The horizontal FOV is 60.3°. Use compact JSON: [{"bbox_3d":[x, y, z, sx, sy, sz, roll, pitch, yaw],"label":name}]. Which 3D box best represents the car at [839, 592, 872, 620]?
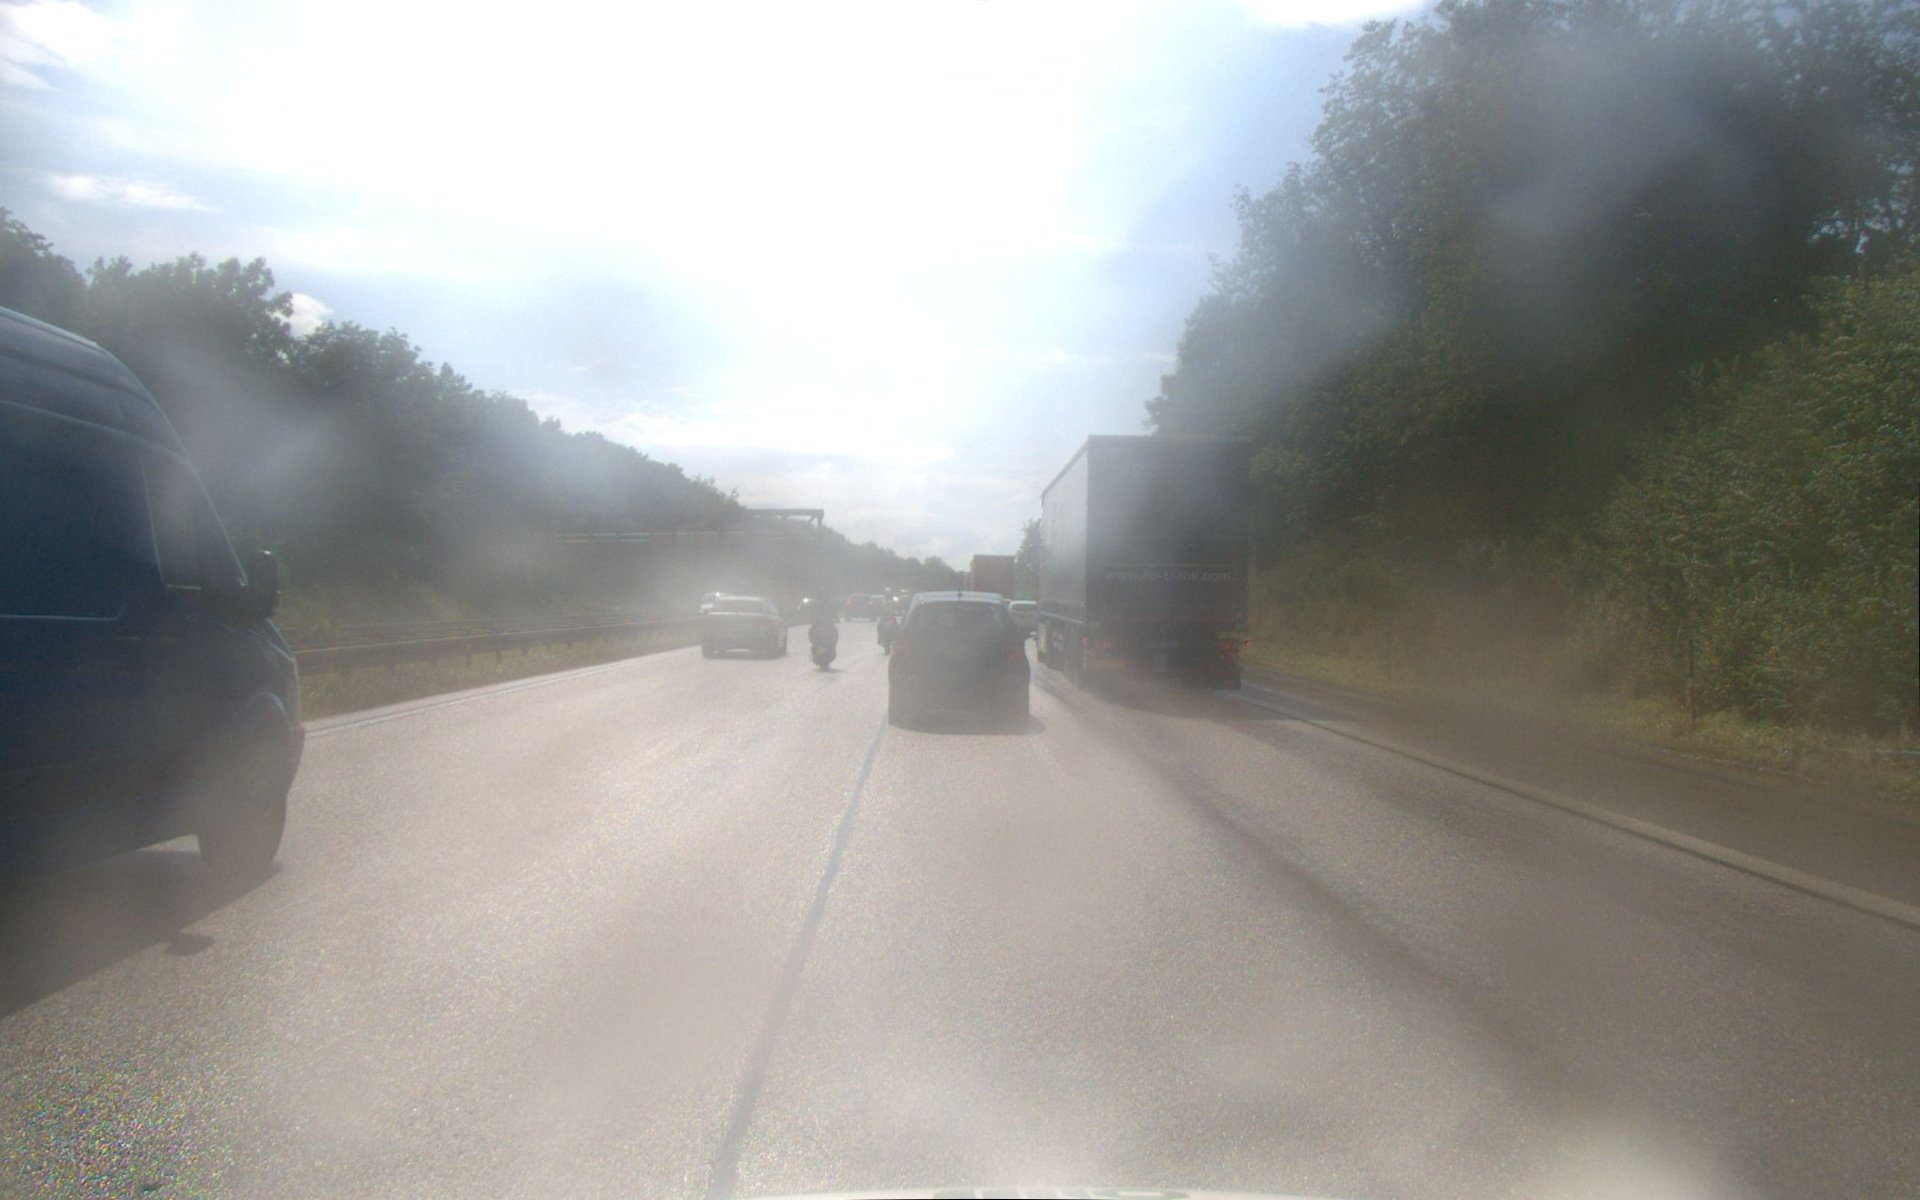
[{"bbox_3d":[-6.421,0.360,102.358,1.854,1.656,4.194,1,0,-1],"label":"car"}]

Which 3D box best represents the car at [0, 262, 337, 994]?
[{"bbox_3d":[-4.536,0.098,6.638,1.975,2.695,5.775,1,0,-1],"label":"car"}]

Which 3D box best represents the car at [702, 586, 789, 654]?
[{"bbox_3d":[-5.351,0.477,41.763,1.723,1.622,4.329,1,0,-1],"label":"car"}]

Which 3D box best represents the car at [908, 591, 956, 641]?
[{"bbox_3d":[-1.206,0.663,69.673,1.953,2.049,3.998,1,0,-2],"label":"car"}]

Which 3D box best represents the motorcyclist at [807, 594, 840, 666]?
[{"bbox_3d":[-2.830,0.612,34.391,0.657,1.467,1.019,1,-1,-4],"label":"motorcyclist"}]

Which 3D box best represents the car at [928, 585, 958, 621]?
[{"bbox_3d":[-1.000,0.175,94.661,1.641,1.970,3.772,1,0,-1],"label":"car"}]

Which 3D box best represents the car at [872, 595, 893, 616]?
[{"bbox_3d":[-6.228,0.461,132.865,1.641,1.625,3.435,1,0,-1],"label":"car"}]

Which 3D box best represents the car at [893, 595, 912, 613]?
[{"bbox_3d":[-6.429,0.443,185.140,1.953,2.049,3.999,1,0,-1],"label":"car"}]

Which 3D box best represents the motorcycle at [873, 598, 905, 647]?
[{"bbox_3d":[-1.894,0.586,44.497,0.803,1.285,2.117,1,0,-1],"label":"motorcycle"}]

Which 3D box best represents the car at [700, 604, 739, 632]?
[{"bbox_3d":[-15.156,1.127,104.416,1.870,1.708,4.967,-1,0,-1],"label":"car"}]

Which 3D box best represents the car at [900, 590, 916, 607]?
[{"bbox_3d":[-6.333,-0.129,202.489,1.953,2.049,3.999,1,0,-1],"label":"car"}]

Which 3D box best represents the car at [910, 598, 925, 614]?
[{"bbox_3d":[-5.772,0.818,223.597,1.953,2.049,3.999,1,0,-1],"label":"car"}]

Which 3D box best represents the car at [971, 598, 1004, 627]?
[{"bbox_3d":[1.459,0.673,88.917,1.641,1.516,3.435,1,0,-1],"label":"car"}]

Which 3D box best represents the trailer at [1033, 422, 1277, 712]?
[{"bbox_3d":[3.287,-0.508,32.276,3.025,4.388,14.103,1,0,0],"label":"trailer"}]

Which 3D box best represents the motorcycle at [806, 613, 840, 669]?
[{"bbox_3d":[-2.834,0.838,34.371,0.662,1.106,1.980,1,0,-4],"label":"motorcycle"}]

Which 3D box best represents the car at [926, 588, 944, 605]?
[{"bbox_3d":[-2.314,-0.294,151.095,1.599,1.516,3.435,1,0,-1],"label":"car"}]

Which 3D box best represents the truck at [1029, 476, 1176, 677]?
[{"bbox_3d":[3.270,-0.504,39.459,2.989,4.401,5.886,1,0,0],"label":"truck"}]

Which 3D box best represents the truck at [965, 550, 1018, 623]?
[{"bbox_3d":[1.957,-0.814,107.344,3.137,4.481,9.430,1,0,-1],"label":"truck"}]

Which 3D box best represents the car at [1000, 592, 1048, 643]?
[{"bbox_3d":[2.661,0.719,69.726,1.811,2.049,4.086,1,0,-1],"label":"car"}]

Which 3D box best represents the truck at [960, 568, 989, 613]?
[{"bbox_3d":[1.587,-1.020,183.622,2.823,4.769,12.655,1,0,-1],"label":"truck"}]

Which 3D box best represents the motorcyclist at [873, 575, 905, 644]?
[{"bbox_3d":[-1.895,0.254,44.492,0.804,1.791,1.390,1,0,-1],"label":"motorcyclist"}]

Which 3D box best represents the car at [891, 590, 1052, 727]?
[{"bbox_3d":[0.086,0.689,21.591,1.876,1.592,4.312,1,0,-1],"label":"car"}]
